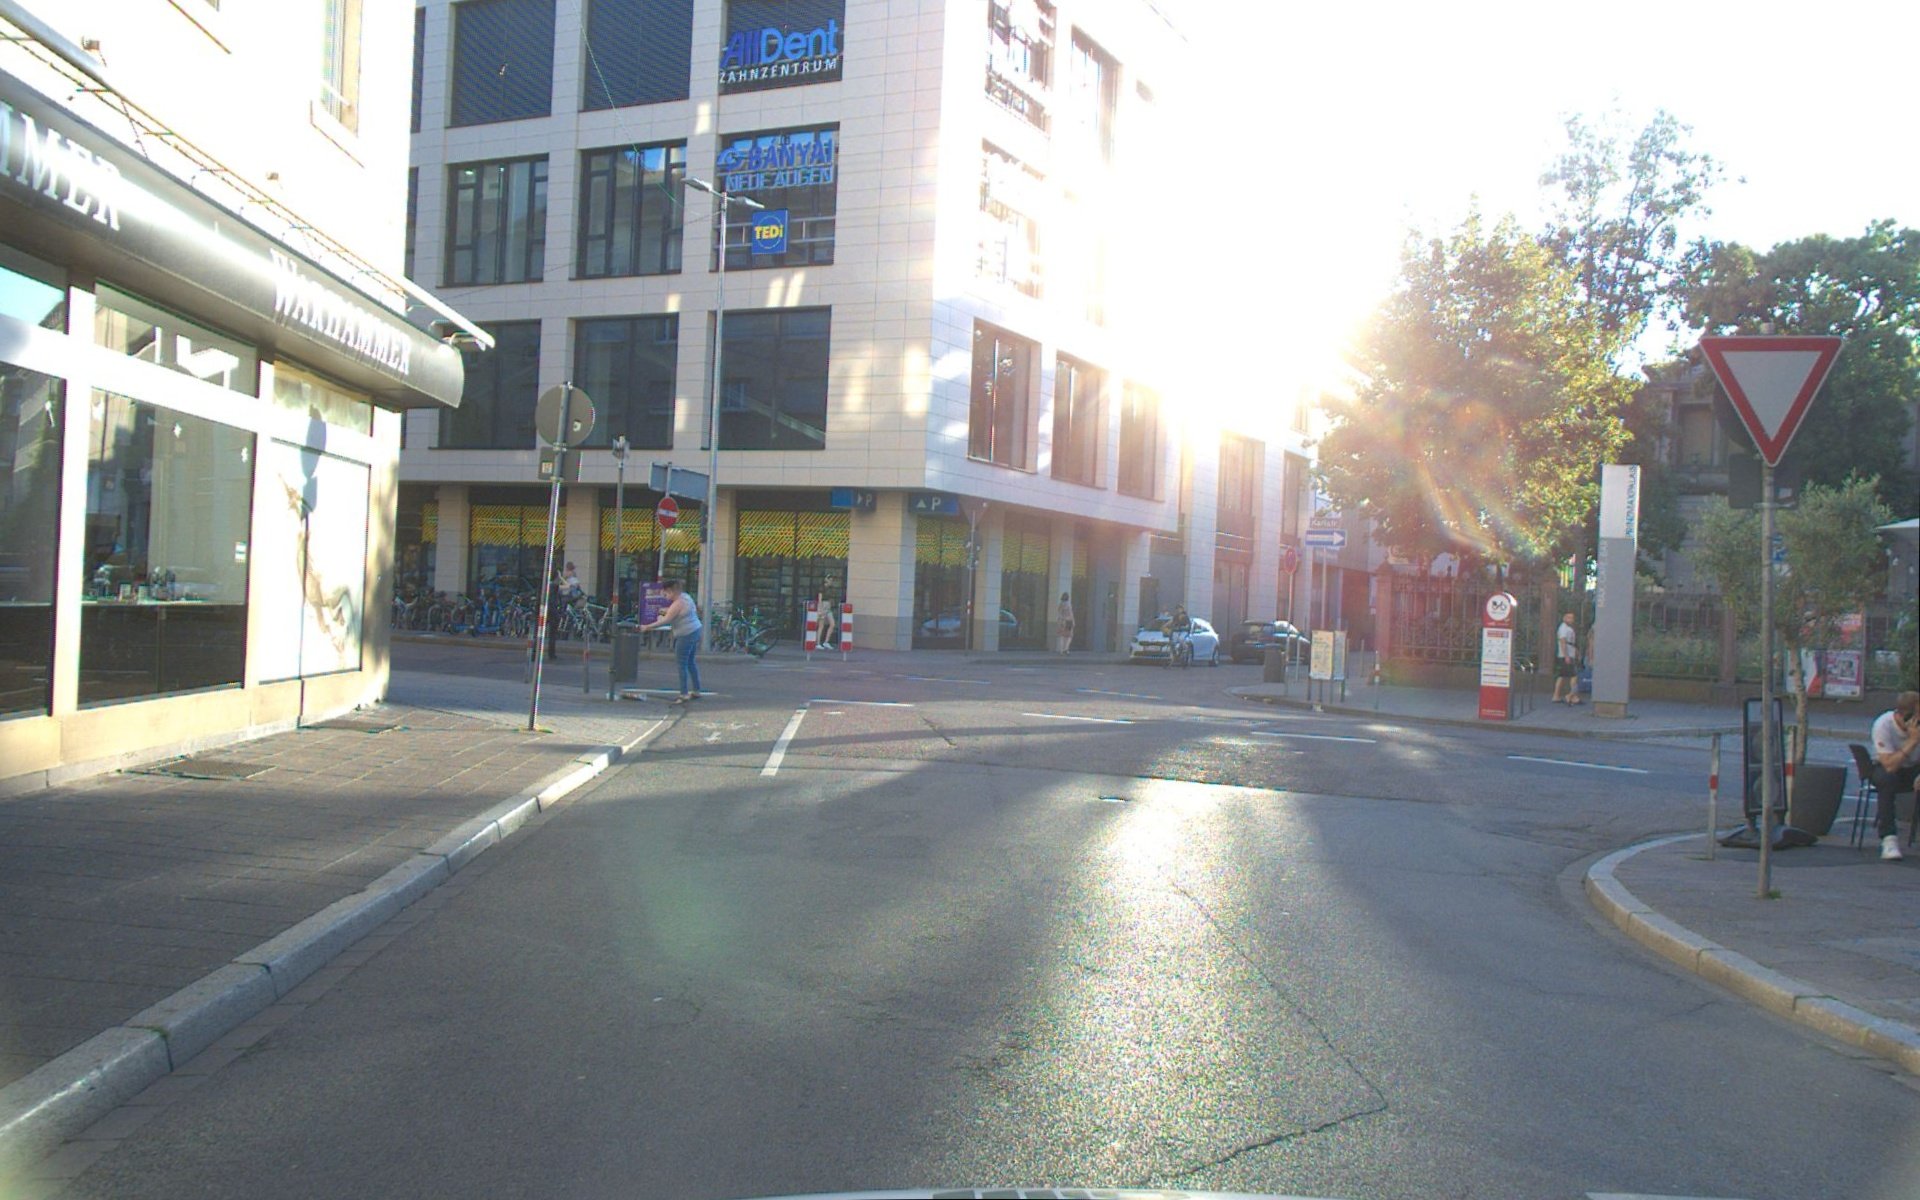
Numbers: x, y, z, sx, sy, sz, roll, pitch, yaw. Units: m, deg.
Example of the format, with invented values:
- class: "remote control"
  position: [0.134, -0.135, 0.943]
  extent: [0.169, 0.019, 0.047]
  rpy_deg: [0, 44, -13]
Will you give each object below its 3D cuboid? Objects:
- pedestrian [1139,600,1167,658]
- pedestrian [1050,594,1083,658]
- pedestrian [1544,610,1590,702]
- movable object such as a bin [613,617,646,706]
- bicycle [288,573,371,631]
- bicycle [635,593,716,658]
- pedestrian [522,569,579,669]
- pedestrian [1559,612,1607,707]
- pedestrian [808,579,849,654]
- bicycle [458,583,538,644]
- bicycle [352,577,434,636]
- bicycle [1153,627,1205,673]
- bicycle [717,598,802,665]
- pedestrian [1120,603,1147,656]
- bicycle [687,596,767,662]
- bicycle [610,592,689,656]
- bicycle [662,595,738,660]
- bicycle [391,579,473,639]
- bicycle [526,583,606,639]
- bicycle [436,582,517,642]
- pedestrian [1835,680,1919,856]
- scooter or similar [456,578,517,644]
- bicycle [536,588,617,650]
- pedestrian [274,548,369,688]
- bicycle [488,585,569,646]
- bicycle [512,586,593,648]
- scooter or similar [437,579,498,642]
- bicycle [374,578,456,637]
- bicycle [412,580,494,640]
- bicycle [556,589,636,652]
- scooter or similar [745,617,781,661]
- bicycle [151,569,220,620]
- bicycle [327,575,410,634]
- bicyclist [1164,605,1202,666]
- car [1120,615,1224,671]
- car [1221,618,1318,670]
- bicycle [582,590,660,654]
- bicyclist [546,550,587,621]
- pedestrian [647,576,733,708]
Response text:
- class: "pedestrian"
  position: [6.353, 0.958, 54.337]
  extent: [0.659, 1.868, 0.647]
  rpy_deg: [3, 0, 25]
- class: "pedestrian"
  position: [3.032, 0.736, 46.900]
  extent: [0.659, 1.775, 0.646]
  rpy_deg: [2, -1, 28]
- class: "pedestrian"
  position: [11.650, 1.059, 31.771]
  extent: [0.688, 1.699, 0.643]
  rpy_deg: [3, 1, 14]
- class: "movable object such as a bin"
  position: [-4.134, 0.768, 20.681]
  extent: [0.353, 1.082, 0.355]
  rpy_deg: [3, -1, -14]
- class: "bicycle"
  position: [-14.893, 0.062, 39.106]
  extent: [0.502, 1.276, 1.977]
  rpy_deg: [3, -1, 26]
- class: "bicycle"
  position: [-5.886, 0.550, 34.338]
  extent: [0.502, 1.276, 1.976]
  rpy_deg: [3, -1, 28]
- class: "pedestrian"
  position: [-7.135, 0.324, 28.799]
  extent: [0.855, 1.687, 0.616]
  rpy_deg: [3, -1, -17]
- class: "pedestrian"
  position: [11.582, 1.088, 30.779]
  extent: [0.688, 1.699, 0.643]
  rpy_deg: [3, 1, 14]
- class: "pedestrian"
  position: [-3.159, 0.383, 39.623]
  extent: [0.628, 1.753, 0.838]
  rpy_deg: [3, 0, -28]
- class: "bicycle"
  position: [-10.242, 0.315, 36.730]
  extent: [0.501, 1.276, 1.978]
  rpy_deg: [3, -1, 24]
- class: "bicycle"
  position: [-13.120, 0.160, 38.338]
  extent: [0.502, 1.276, 1.977]
  rpy_deg: [3, -1, 26]
- class: "bicycle"
  position: [5.930, 1.357, 44.706]
  extent: [0.652, 1.158, 1.816]
  rpy_deg: [3, -1, 33]
- class: "bicycle"
  position: [-4.050, 0.652, 33.579]
  extent: [0.650, 1.276, 2.139]
  rpy_deg: [3, -1, 23]
- class: "pedestrian"
  position: [5.728, 0.965, 54.631]
  extent: [0.659, 1.704, 0.647]
  rpy_deg: [3, 0, 25]
- class: "bicycle"
  position: [-4.749, 0.613, 33.858]
  extent: [0.569, 1.276, 2.043]
  rpy_deg: [3, -1, 23]
- class: "bicycle"
  position: [-6.505, 0.517, 34.754]
  extent: [0.502, 1.276, 1.977]
  rpy_deg: [3, -1, 26]
- class: "bicycle"
  position: [-5.332, 0.581, 34.082]
  extent: [0.501, 1.276, 1.978]
  rpy_deg: [3, -1, 23]
- class: "bicycle"
  position: [-11.993, 0.220, 37.645]
  extent: [0.502, 1.276, 1.977]
  rpy_deg: [3, -1, 26]
- class: "bicycle"
  position: [-9.825, 0.266, 41.244]
  extent: [1.934, 1.276, 0.612]
  rpy_deg: [3, -1, 27]
- class: "bicycle"
  position: [-10.796, 0.285, 37.000]
  extent: [0.502, 1.276, 1.977]
  rpy_deg: [3, -1, 26]
- class: "pedestrian"
  position: [7.019, 1.239, 12.311]
  extent: [0.593, 1.209, 0.822]
  rpy_deg: [3, 0, 7]
- class: "scooter or similar"
  position: [-9.652, 0.229, 33.733]
  extent: [0.379, 1.282, 1.269]
  rpy_deg: [3, -1, 26]
- class: "bicycle"
  position: [-8.245, 0.423, 35.660]
  extent: [0.502, 1.276, 1.977]
  rpy_deg: [3, -1, 26]
- class: "pedestrian"
  position: [-7.792, 0.216, 20.210]
  extent: [0.717, 1.641, 0.805]
  rpy_deg: [3, -1, 7]
- class: "bicycle"
  position: [-9.486, 0.357, 36.416]
  extent: [0.502, 1.276, 1.977]
  rpy_deg: [3, -1, 26]
- class: "bicycle"
  position: [-8.856, 0.390, 36.003]
  extent: [0.502, 1.276, 1.977]
  rpy_deg: [3, -1, 26]
- class: "scooter or similar"
  position: [-10.134, 0.231, 34.052]
  extent: [0.379, 1.233, 1.269]
  rpy_deg: [3, -1, 26]
- class: "bicycle"
  position: [-12.516, 0.193, 38.055]
  extent: [0.502, 1.276, 1.977]
  rpy_deg: [3, -1, 26]
- class: "bicycle"
  position: [-11.445, 0.250, 37.415]
  extent: [0.502, 1.276, 1.977]
  rpy_deg: [3, -1, 26]
- class: "bicycle"
  position: [-7.761, 0.449, 35.378]
  extent: [0.502, 1.276, 1.977]
  rpy_deg: [3, -1, 26]
- class: "scooter or similar"
  position: [-4.185, 0.833, 35.179]
  extent: [0.379, 0.899, 0.769]
  rpy_deg: [3, -1, 26]
- class: "bicycle"
  position: [-21.017, -0.159, 44.891]
  extent: [1.934, 1.276, 0.513]
  rpy_deg: [3, -1, 25]
- class: "bicycle"
  position: [-13.792, 0.122, 38.617]
  extent: [0.502, 1.276, 1.977]
  rpy_deg: [3, -1, 26]
- class: "bicyclist"
  position: [6.039, 0.960, 44.819]
  extent: [0.646, 1.598, 0.861]
  rpy_deg: [3, -1, 33]
- class: "car"
  position: [6.284, 1.252, 48.757]
  extent: [1.743, 1.478, 4.226]
  rpy_deg: [3, 0, 26]
- class: "car"
  position: [10.654, 1.509, 56.703]
  extent: [1.848, 1.626, 4.680]
  rpy_deg: [3, 0, 29]
- class: "bicycle"
  position: [-7.178, 0.481, 35.129]
  extent: [0.501, 1.276, 1.977]
  rpy_deg: [3, -1, 25]
- class: "bicyclist"
  position: [-9.801, -0.357, 41.231]
  extent: [0.630, 1.725, 0.683]
  rpy_deg: [3, 0, 28]
- class: "pedestrian"
  position: [-3.463, 0.537, 21.207]
  extent: [0.795, 1.641, 0.726]
  rpy_deg: [3, -1, -33]
